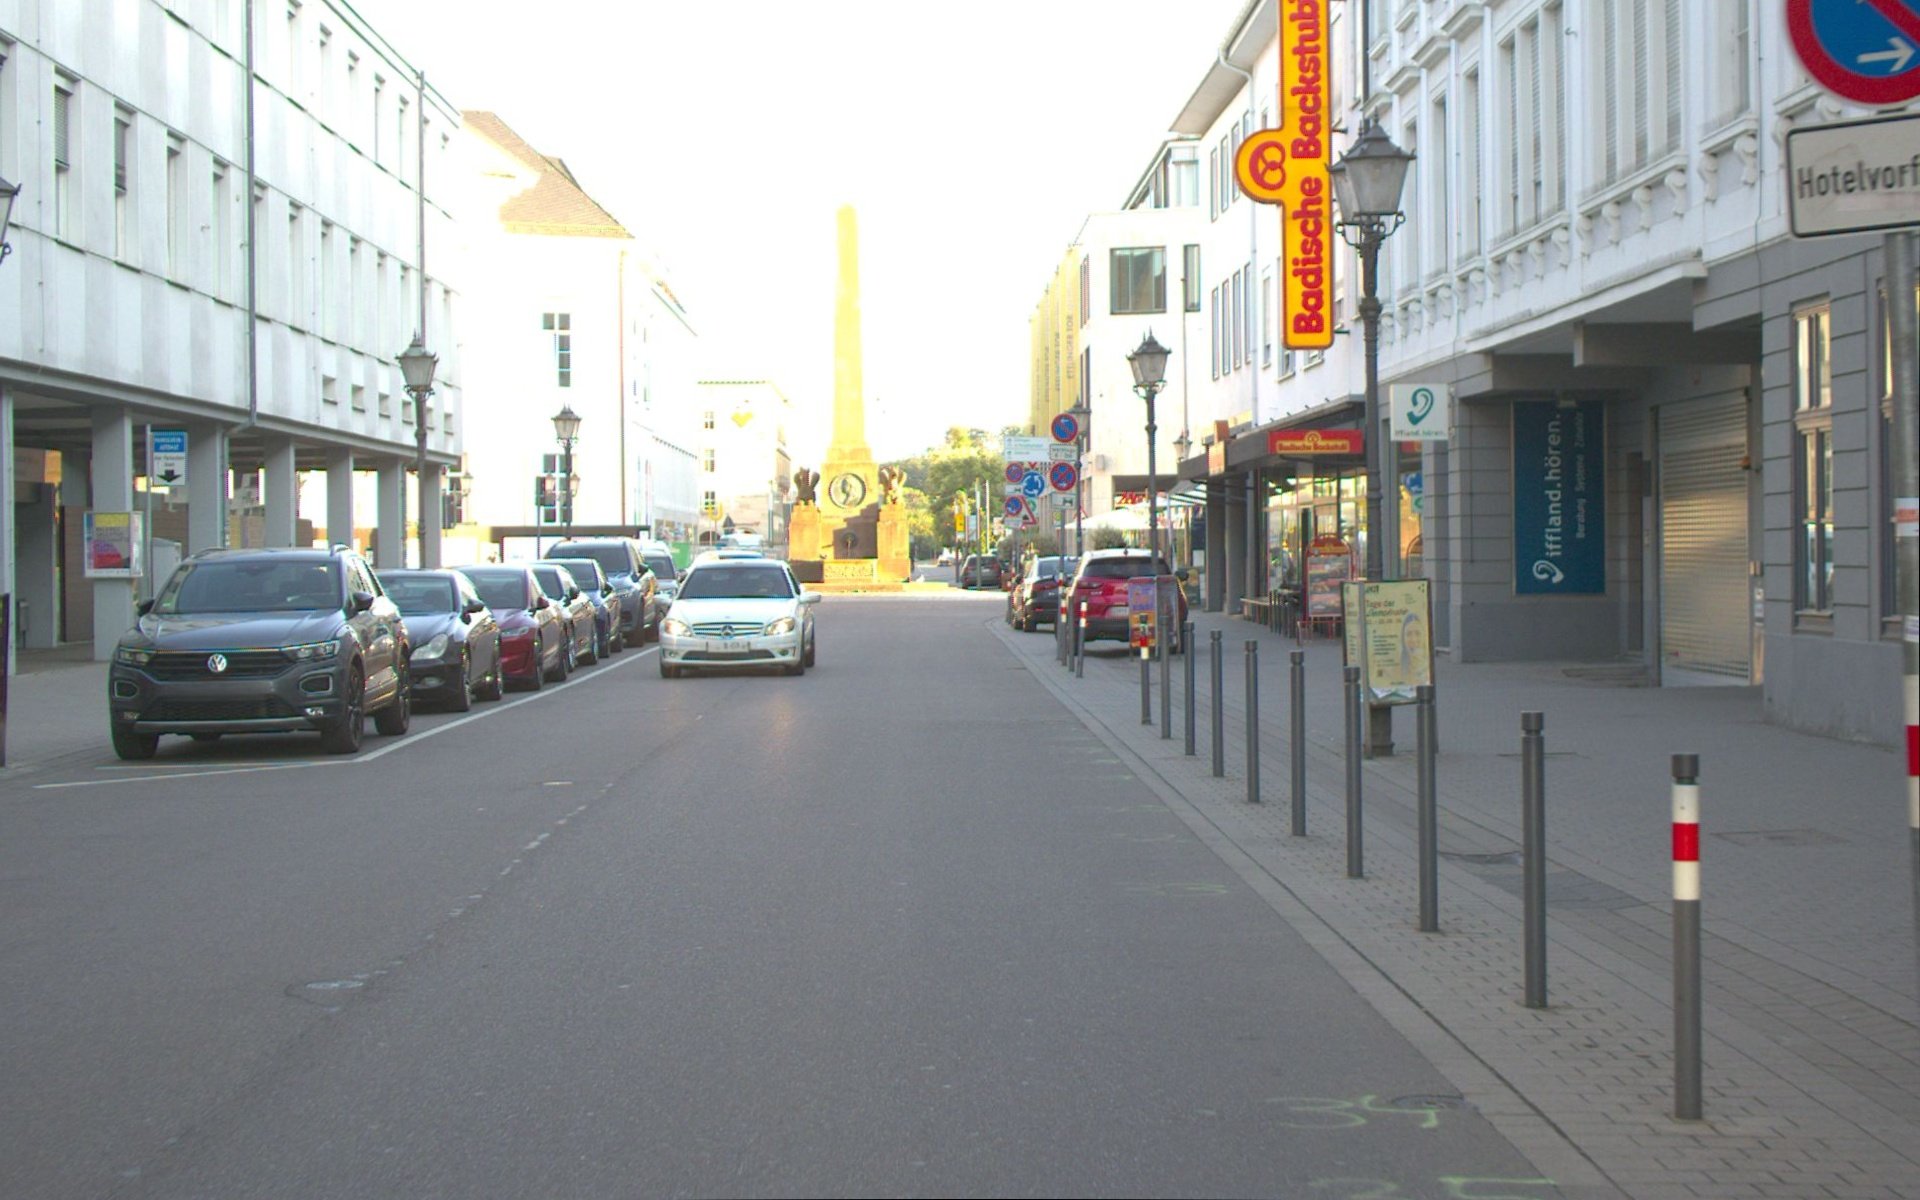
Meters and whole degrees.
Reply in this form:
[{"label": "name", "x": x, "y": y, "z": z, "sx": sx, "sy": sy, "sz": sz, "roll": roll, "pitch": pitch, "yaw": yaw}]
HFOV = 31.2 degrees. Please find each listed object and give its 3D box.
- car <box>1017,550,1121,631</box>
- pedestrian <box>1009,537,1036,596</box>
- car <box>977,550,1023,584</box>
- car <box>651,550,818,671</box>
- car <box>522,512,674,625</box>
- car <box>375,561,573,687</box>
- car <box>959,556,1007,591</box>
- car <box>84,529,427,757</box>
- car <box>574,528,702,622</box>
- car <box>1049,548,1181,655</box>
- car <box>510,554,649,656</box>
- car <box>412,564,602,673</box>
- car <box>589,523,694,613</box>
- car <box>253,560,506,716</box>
[{"label": "car", "x": 2.025, "y": -0.198, "z": 64.711, "sx": 1.801, "sy": 1.459, "sz": 4.117, "roll": 0, "pitch": 1, "yaw": 0}, {"label": "pedestrian", "x": 1.744, "y": -0.936, "z": 95.725, "sx": 0.690, "sy": 1.642, "sz": 0.696, "roll": -1, "pitch": 1, "yaw": -1}, {"label": "car", "x": 1.804, "y": -1.496, "z": 154.845, "sx": 1.993, "sy": 1.459, "sz": 4.000, "roll": -1, "pitch": 1, "yaw": 1}, {"label": "car", "x": -2.757, "y": 0.093, "z": 42.739, "sx": 1.785, "sy": 1.404, "sz": 4.088, "roll": -1, "pitch": 1, "yaw": 0}, {"label": "car", "x": -5.890, "y": -0.526, "z": 56.429, "sx": 1.993, "sy": 1.722, "sz": 4.516, "roll": -2, "pitch": 1, "yaw": 0}, {"label": "car", "x": -5.790, "y": 0.254, "z": 41.370, "sx": 1.785, "sy": 1.404, "sz": 4.088, "roll": -1, "pitch": 1, "yaw": 0}, {"label": "car", "x": 0.981, "y": -1.143, "z": 146.373, "sx": 1.993, "sy": 1.459, "sz": 4.000, "roll": -1, "pitch": 1, "yaw": 1}, {"label": "car", "x": -5.379, "y": 0.276, "z": 26.769, "sx": 1.785, "sy": 1.609, "sz": 4.166, "roll": -1, "pitch": 1, "yaw": 0}, {"label": "car", "x": -5.900, "y": -0.475, "z": 63.377, "sx": 1.993, "sy": 1.656, "sz": 4.000, "roll": 0, "pitch": 1, "yaw": 0}, {"label": "car", "x": 2.253, "y": -0.003, "z": 50.862, "sx": 1.759, "sy": 1.518, "sz": 3.677, "roll": 0, "pitch": 1, "yaw": 0}, {"label": "car", "x": -5.557, "y": 0.039, "z": 50.572, "sx": 1.673, "sy": 1.395, "sz": 4.000, "roll": -1, "pitch": 1, "yaw": -1}, {"label": "car", "x": -5.927, "y": 0.210, "z": 45.404, "sx": 1.993, "sy": 1.349, "sz": 4.000, "roll": 0, "pitch": 1, "yaw": 0}, {"label": "car", "x": -6.736, "y": -0.688, "z": 72.305, "sx": 1.993, "sy": 1.809, "sz": 4.785, "roll": 0, "pitch": 1, "yaw": -8}, {"label": "car", "x": -5.663, "y": 0.328, "z": 33.984, "sx": 1.785, "sy": 1.404, "sz": 4.088, "roll": -1, "pitch": 1, "yaw": 0}]
